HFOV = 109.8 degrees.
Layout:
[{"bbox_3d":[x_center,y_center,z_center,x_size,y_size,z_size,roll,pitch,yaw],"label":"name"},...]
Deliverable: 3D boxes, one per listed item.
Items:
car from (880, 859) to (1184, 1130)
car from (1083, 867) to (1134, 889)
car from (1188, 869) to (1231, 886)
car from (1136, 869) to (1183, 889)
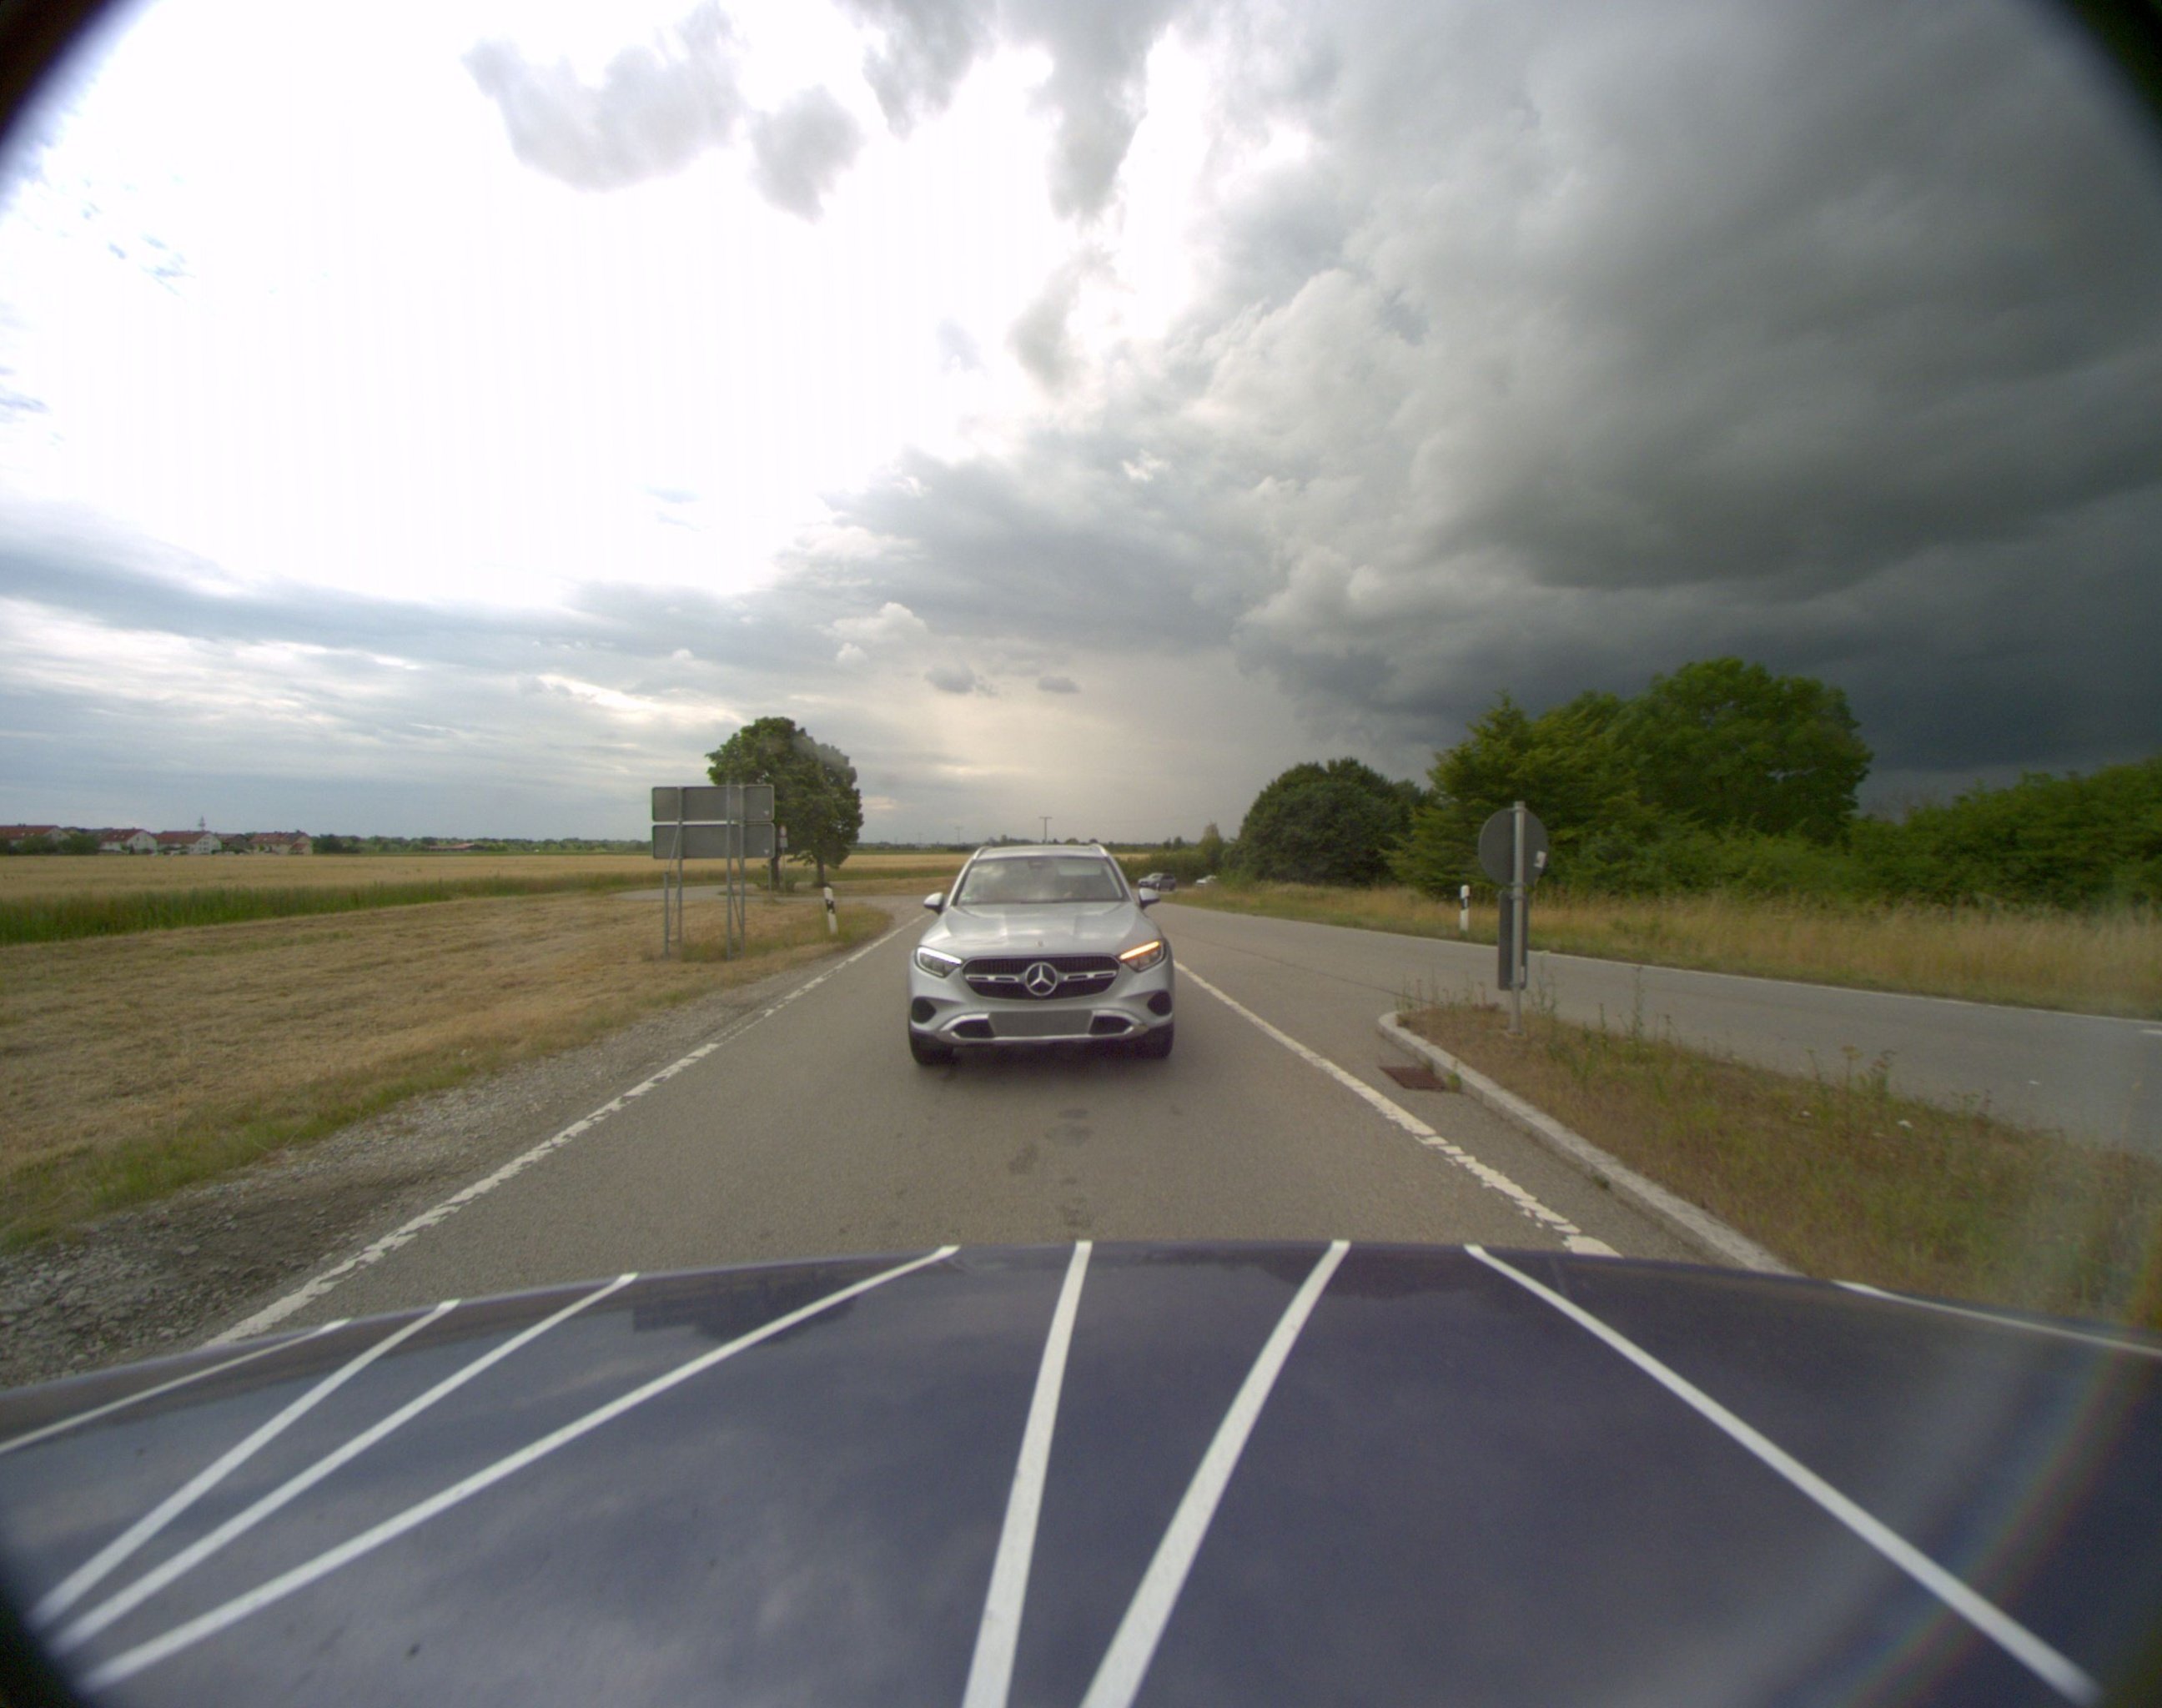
[{"bbox_3d":[-0.434,0.870,6.908,1.837,1.577,4.448,-1,0,-4],"label":"car"},{"bbox_3d":[2.391,2.043,64.357,1.994,1.709,5.220,3,-1,30],"label":"car"},{"bbox_3d":[13.991,2.510,82.427,1.994,1.710,5.220,3,2,42],"label":"car"},{"bbox_3d":[7.783,2.387,74.673,1.994,1.710,5.220,3,2,39],"label":"car"}]
